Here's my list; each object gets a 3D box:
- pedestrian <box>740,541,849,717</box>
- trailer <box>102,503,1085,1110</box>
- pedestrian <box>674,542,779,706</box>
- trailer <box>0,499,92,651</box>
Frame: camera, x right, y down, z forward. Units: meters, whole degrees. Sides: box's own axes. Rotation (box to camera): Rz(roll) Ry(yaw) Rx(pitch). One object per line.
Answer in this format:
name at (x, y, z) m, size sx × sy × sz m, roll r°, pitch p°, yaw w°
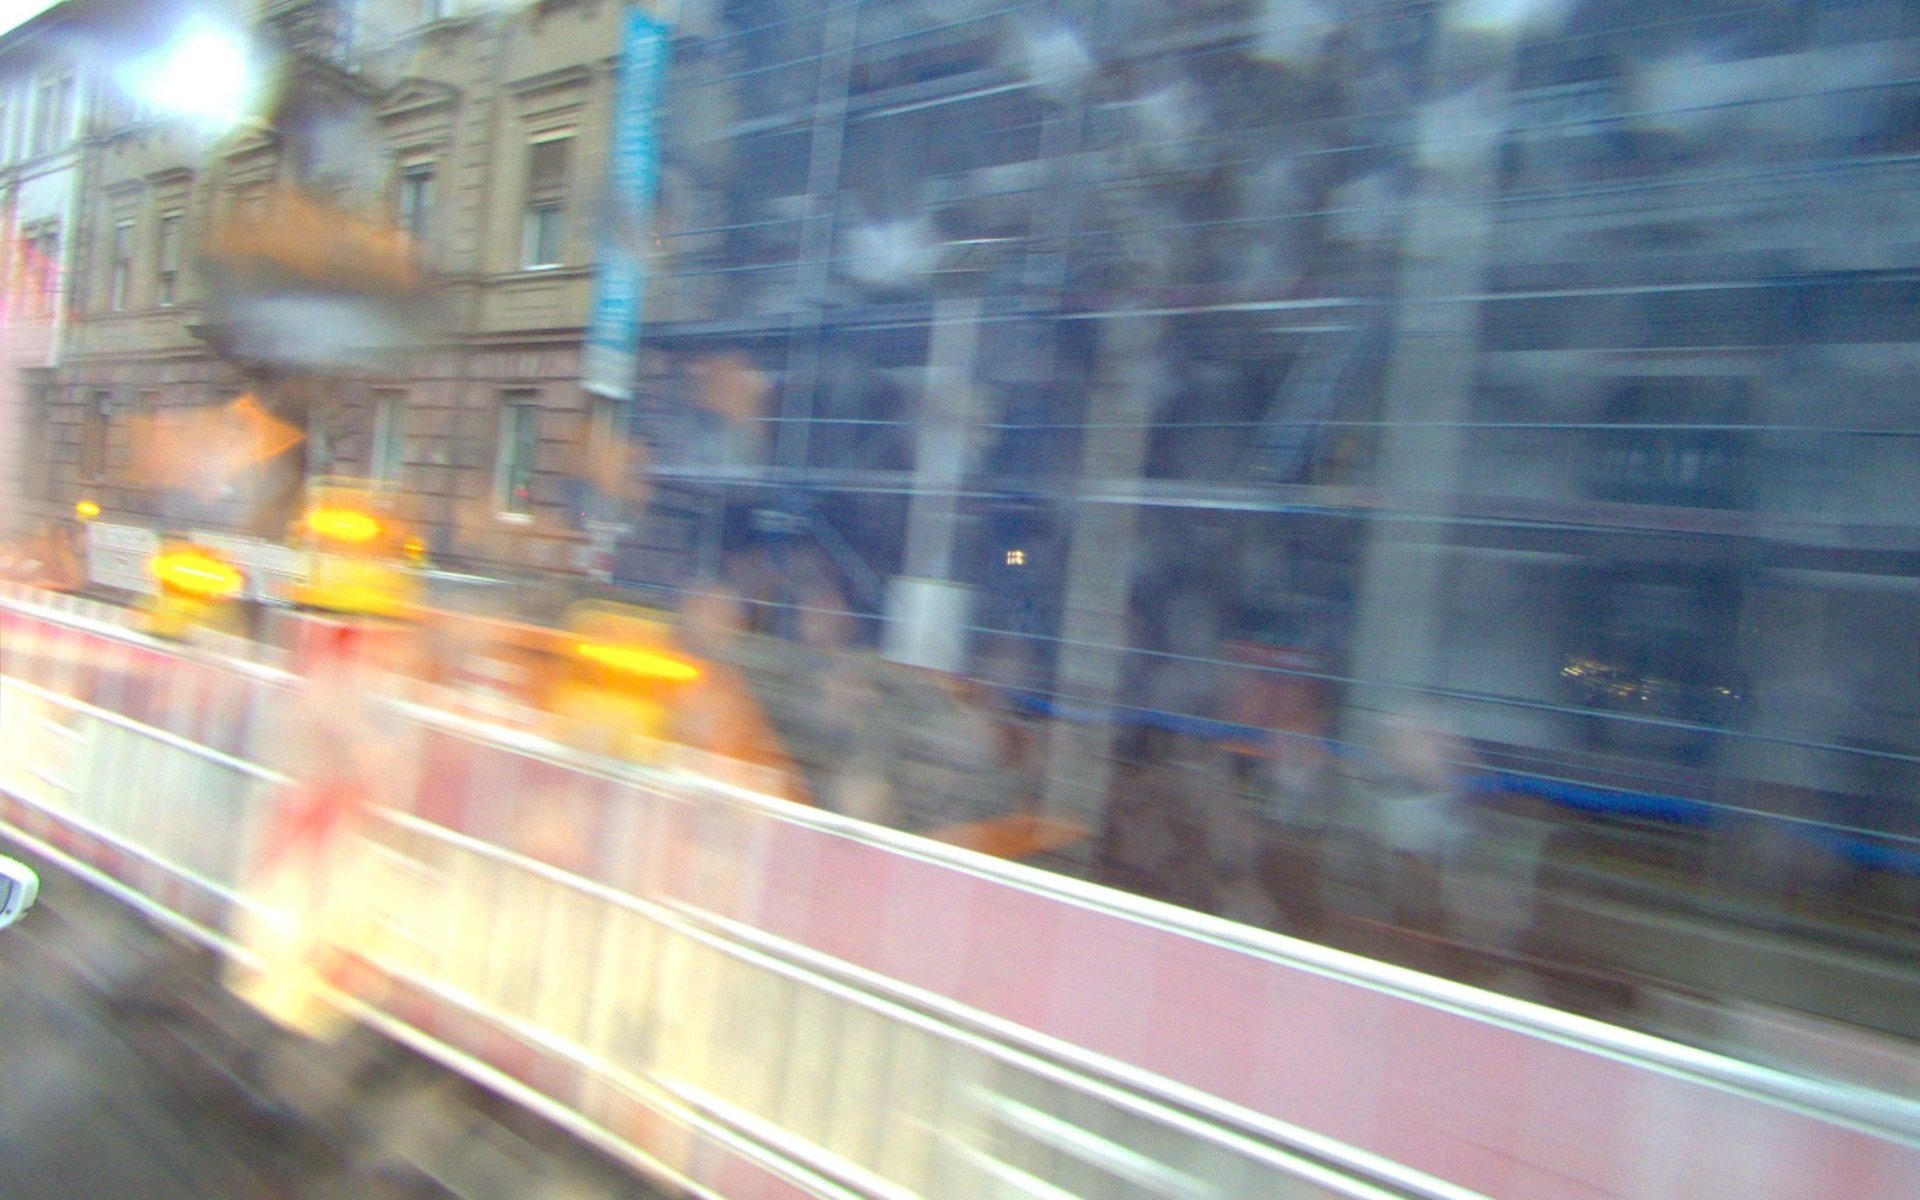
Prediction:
pedestrian at (-1.735, 0.300, 10.565) m, size 0.715 × 1.732 × 0.642 m, roll 7°, pitch 2°, yaw 31°
trailer at (-2.019, 0.552, 4.938) m, size 4.766 × 1.508 × 1.838 m, roll 7°, pitch 0°, yaw 31°
pedestrian at (-2.483, 0.254, 10.717) m, size 0.640 × 1.643 × 0.711 m, roll 7°, pitch 2°, yaw 31°
trailer at (-10.499, -0.432, 9.939) m, size 3.469 × 1.362 × 1.854 m, roll 7°, pitch 0°, yaw 31°
